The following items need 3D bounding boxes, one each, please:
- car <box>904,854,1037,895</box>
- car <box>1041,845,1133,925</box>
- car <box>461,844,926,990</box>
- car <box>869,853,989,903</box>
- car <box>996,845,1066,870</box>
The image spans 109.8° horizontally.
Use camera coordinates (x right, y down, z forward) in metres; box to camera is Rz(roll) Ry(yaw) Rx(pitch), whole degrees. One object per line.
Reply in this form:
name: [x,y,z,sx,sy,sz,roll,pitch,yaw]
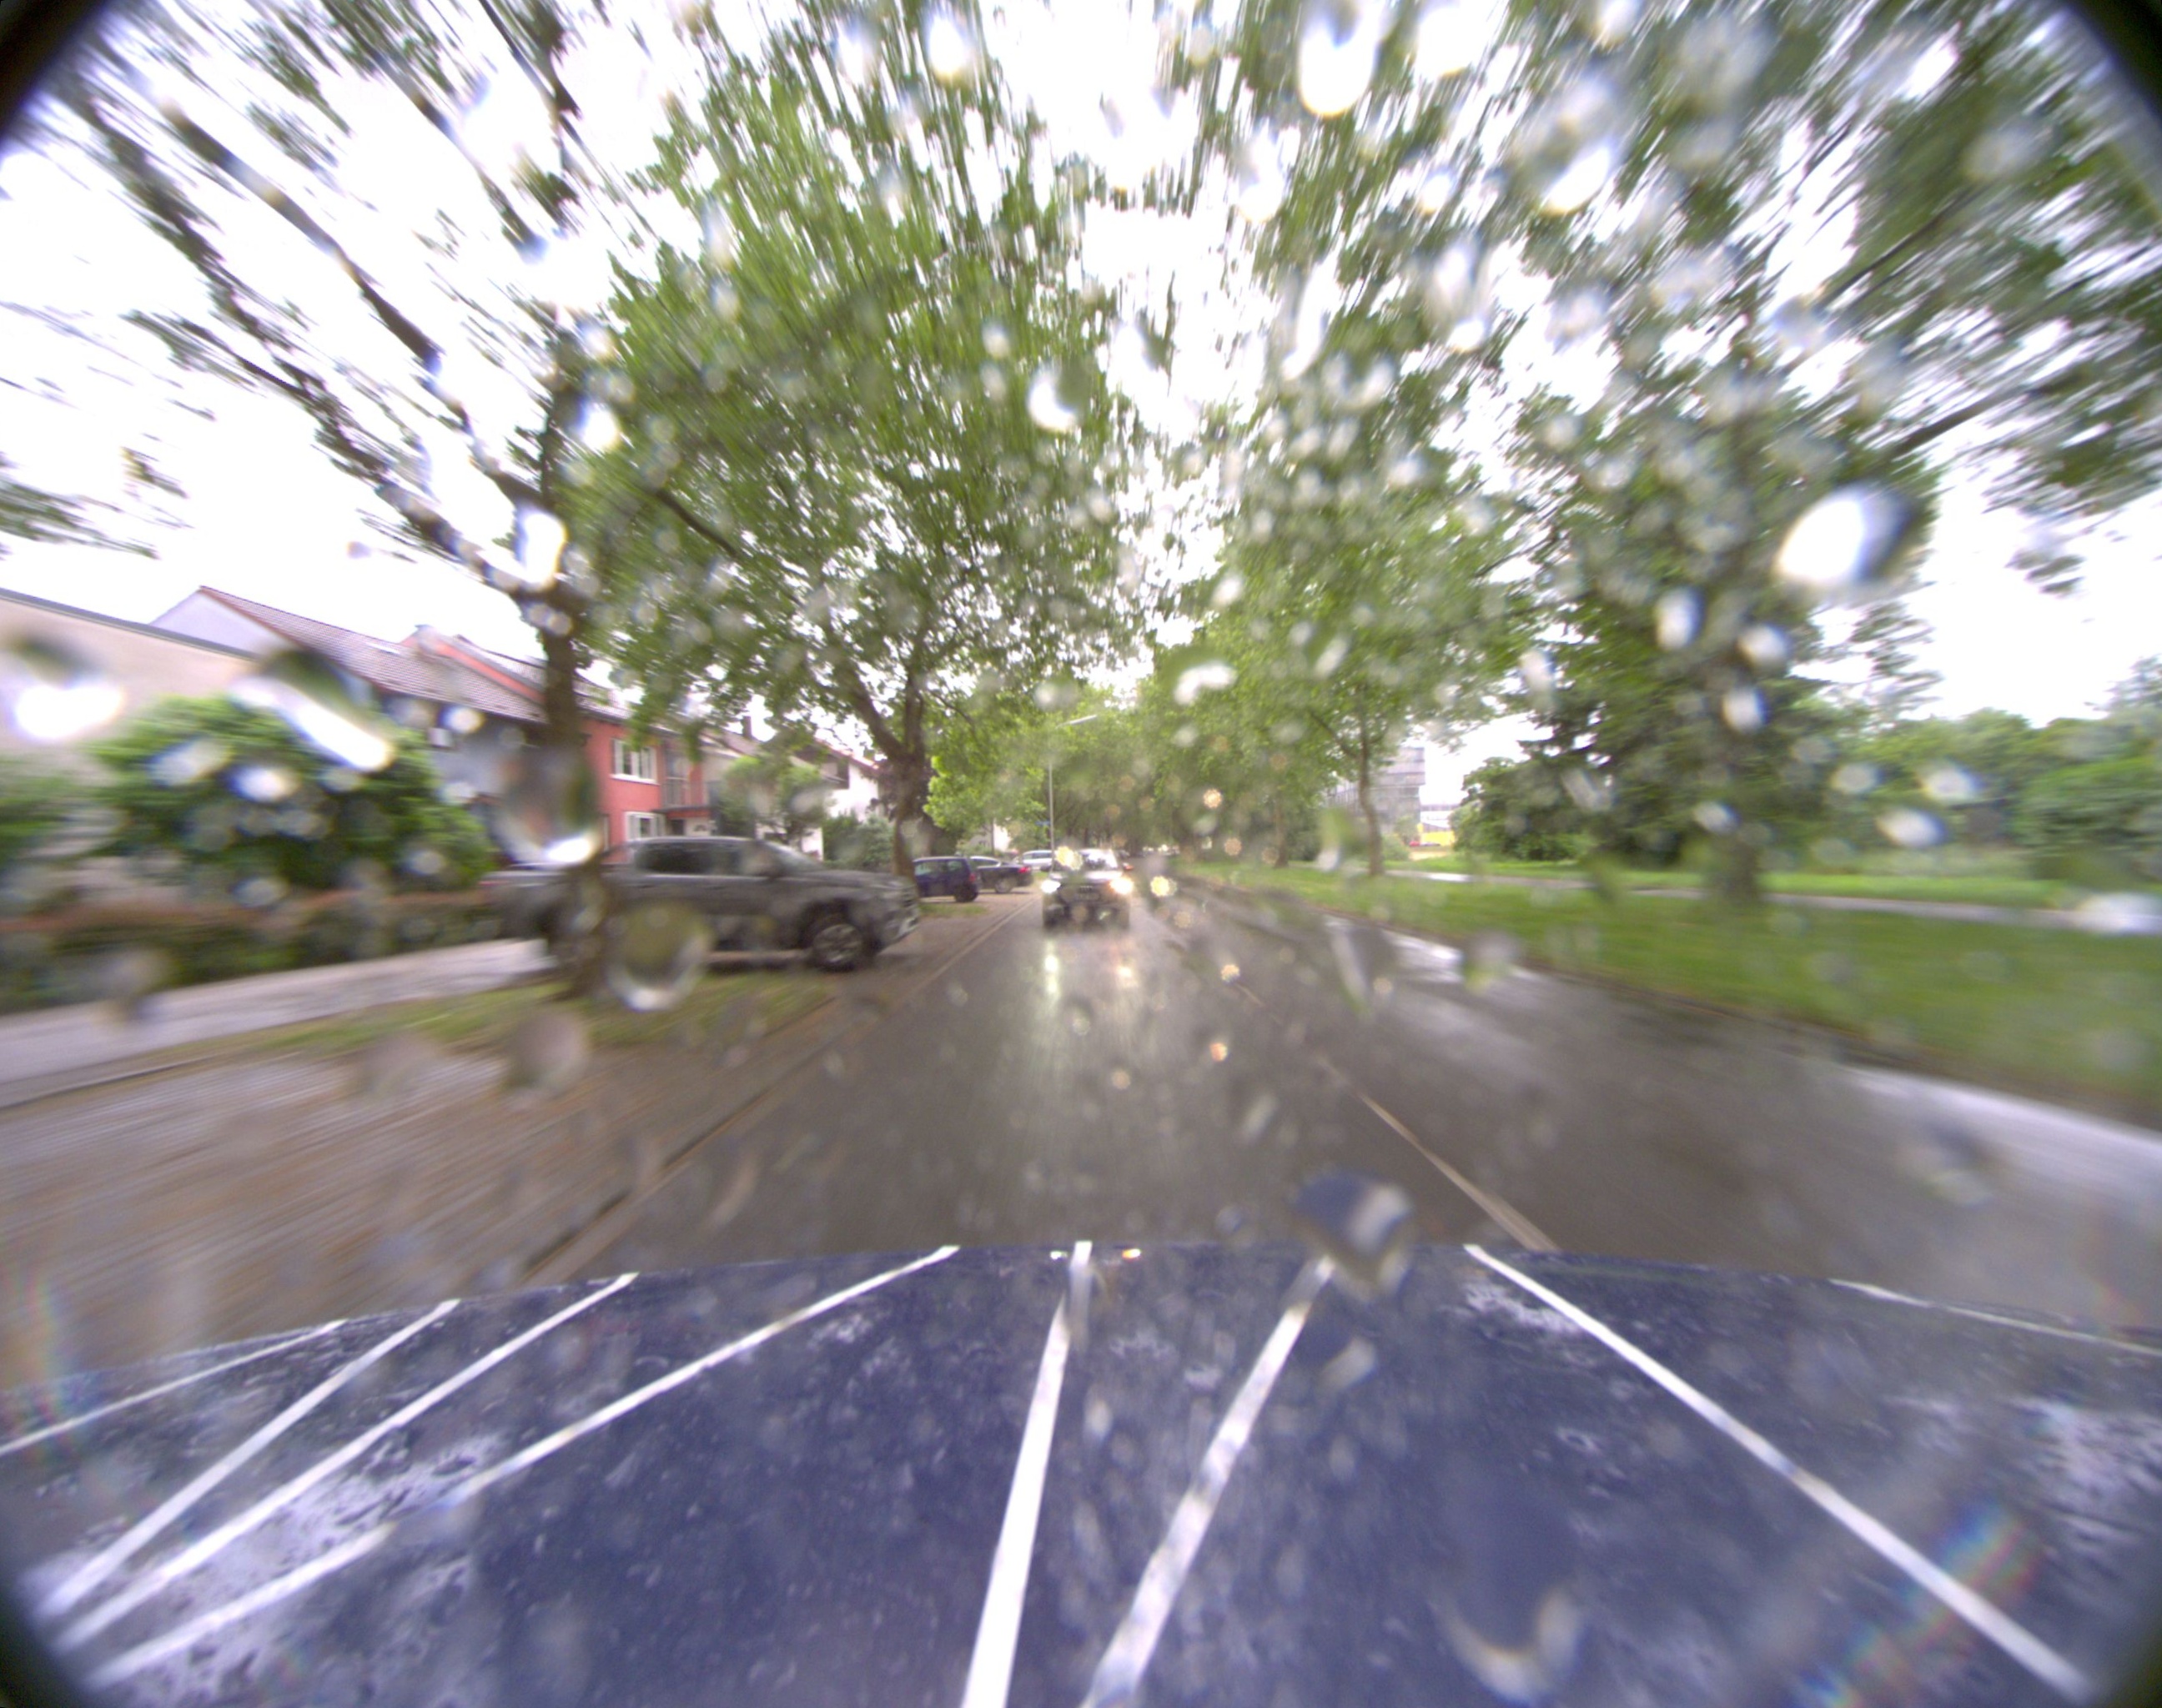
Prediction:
car: [-4.120,0.756,28.991,4.779,1.464,1.937,-1,0,-2]
car: [0.251,0.618,17.671,1.862,1.608,4.424,-1,0,3]
car: [-4.970,0.763,10.415,5.353,1.796,1.844,0,1,-4]
car: [-4.722,0.726,23.866,3.363,1.455,1.619,-1,1,2]
car: [-3.474,0.233,53.087,4.700,1.651,1.976,-1,1,1]
